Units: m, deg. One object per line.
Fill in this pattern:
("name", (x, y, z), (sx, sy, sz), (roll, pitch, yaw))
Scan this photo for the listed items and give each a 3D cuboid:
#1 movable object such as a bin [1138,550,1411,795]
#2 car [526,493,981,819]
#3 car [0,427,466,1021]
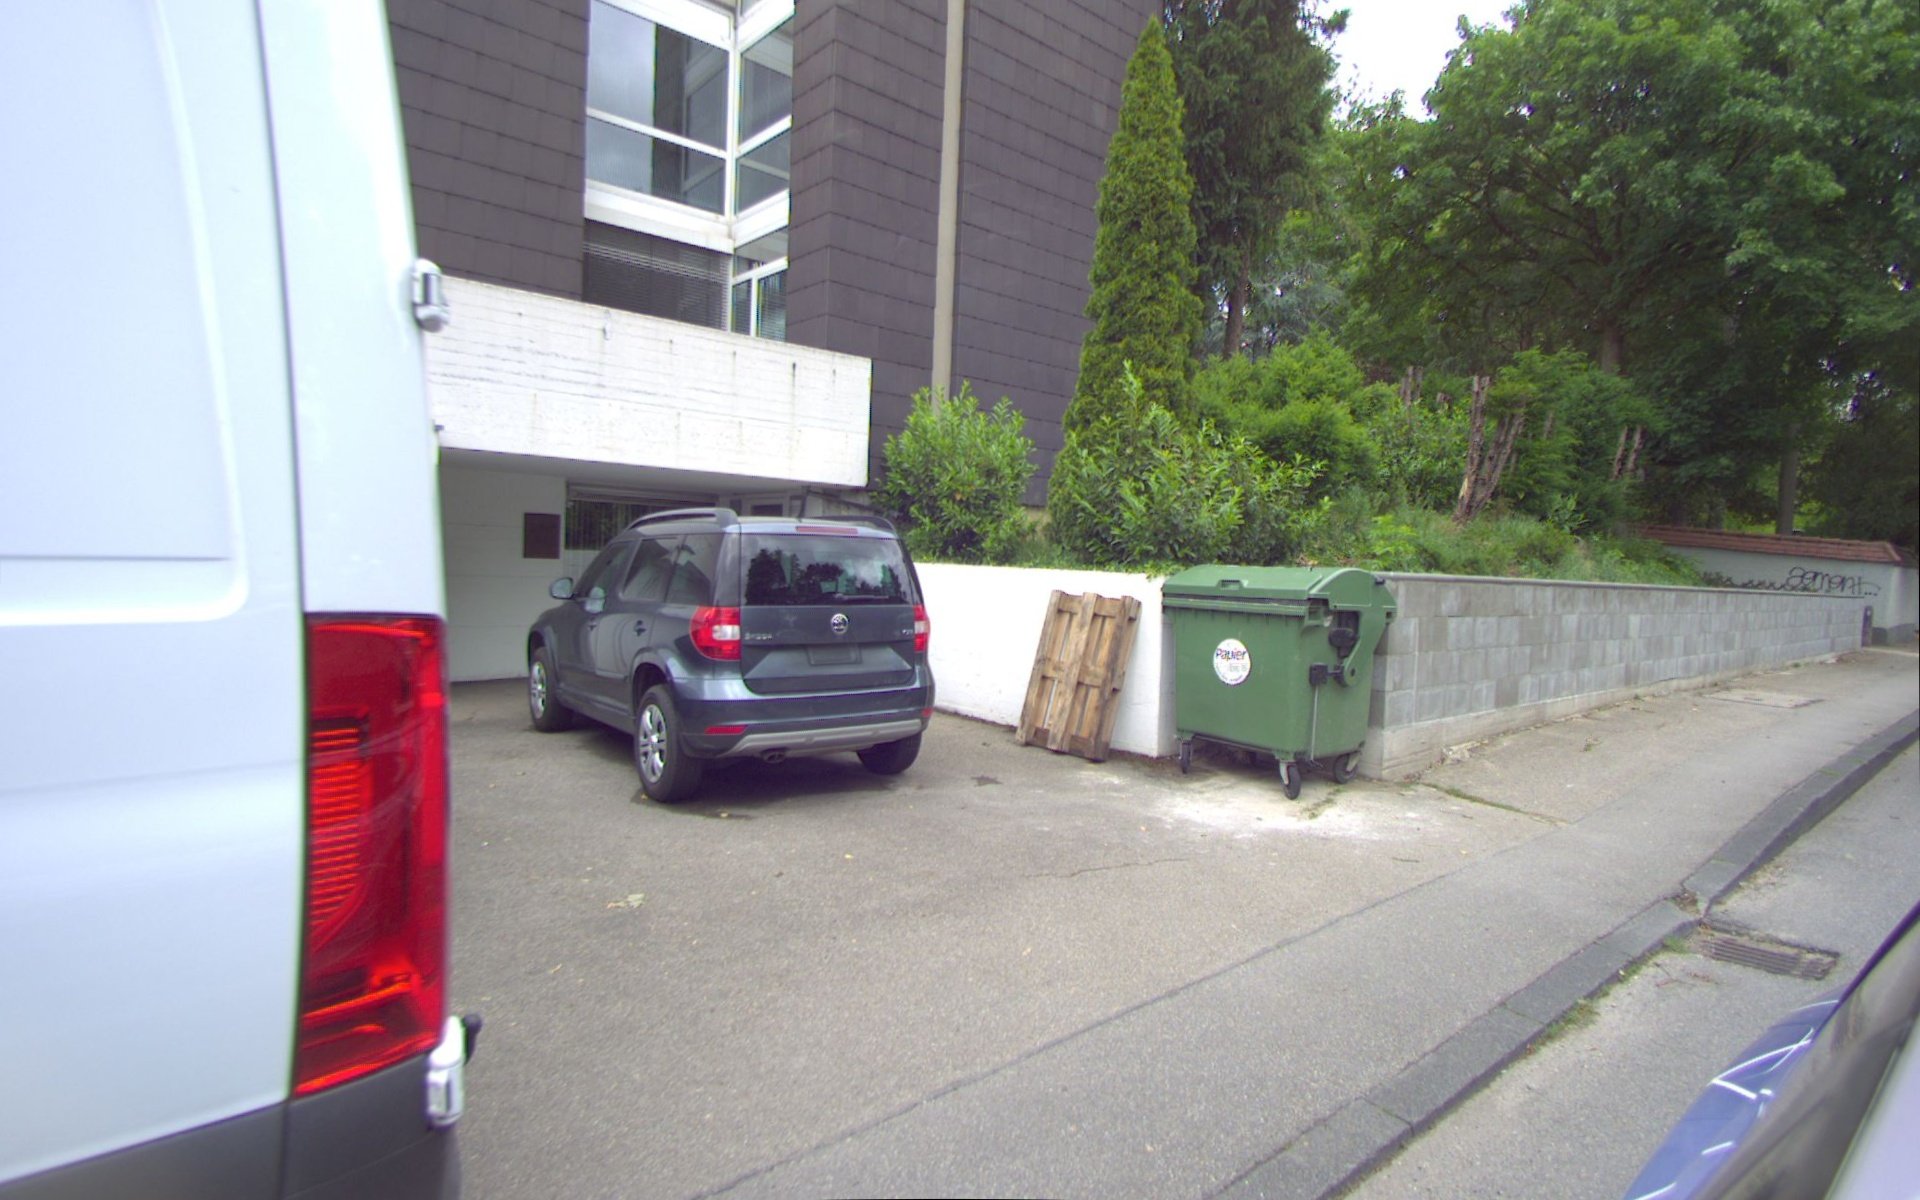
("movable object such as a bin", (2.138, 0.402, 6.970), (1.096, 1.469, 1.407), (-1, 3, -40))
("car", (-1.728, 0.169, 7.260), (1.712, 1.671, 3.914), (-1, 4, -36))
("car", (-3.811, 0.229, 4.827), (1.665, 1.695, 4.393), (-1, 4, -39))
